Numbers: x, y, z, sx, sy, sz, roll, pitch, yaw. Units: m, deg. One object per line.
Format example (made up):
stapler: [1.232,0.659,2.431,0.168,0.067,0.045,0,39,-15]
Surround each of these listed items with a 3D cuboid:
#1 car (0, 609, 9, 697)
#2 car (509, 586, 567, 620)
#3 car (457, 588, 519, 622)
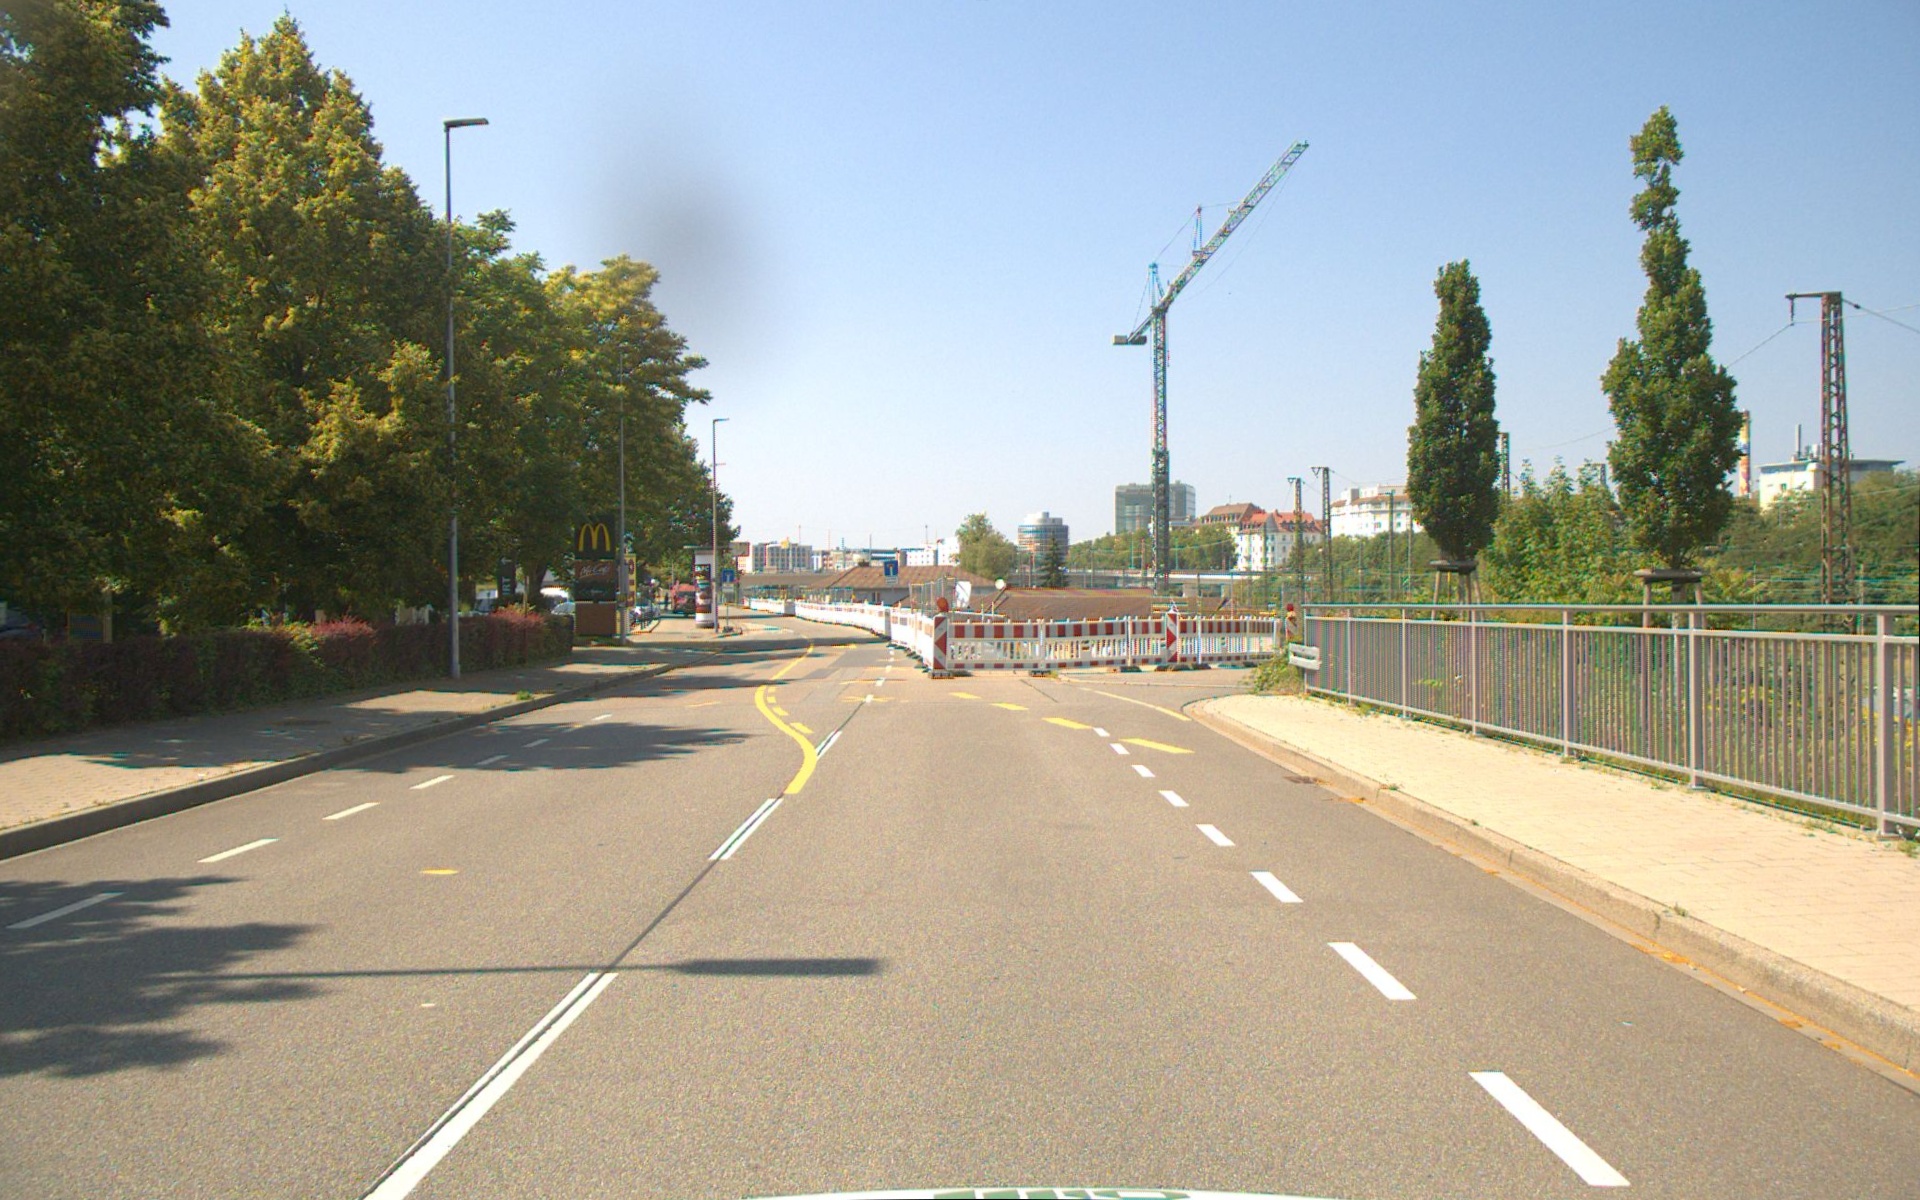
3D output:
car: [-18.673,1.010,29.078,1.646,1.631,3.758,-1,0,2]
car: [-25.178,0.173,98.559,1.812,1.963,3.941,0,0,-40]
car: [-27.188,0.293,95.144,1.982,1.937,3.941,0,0,-40]
